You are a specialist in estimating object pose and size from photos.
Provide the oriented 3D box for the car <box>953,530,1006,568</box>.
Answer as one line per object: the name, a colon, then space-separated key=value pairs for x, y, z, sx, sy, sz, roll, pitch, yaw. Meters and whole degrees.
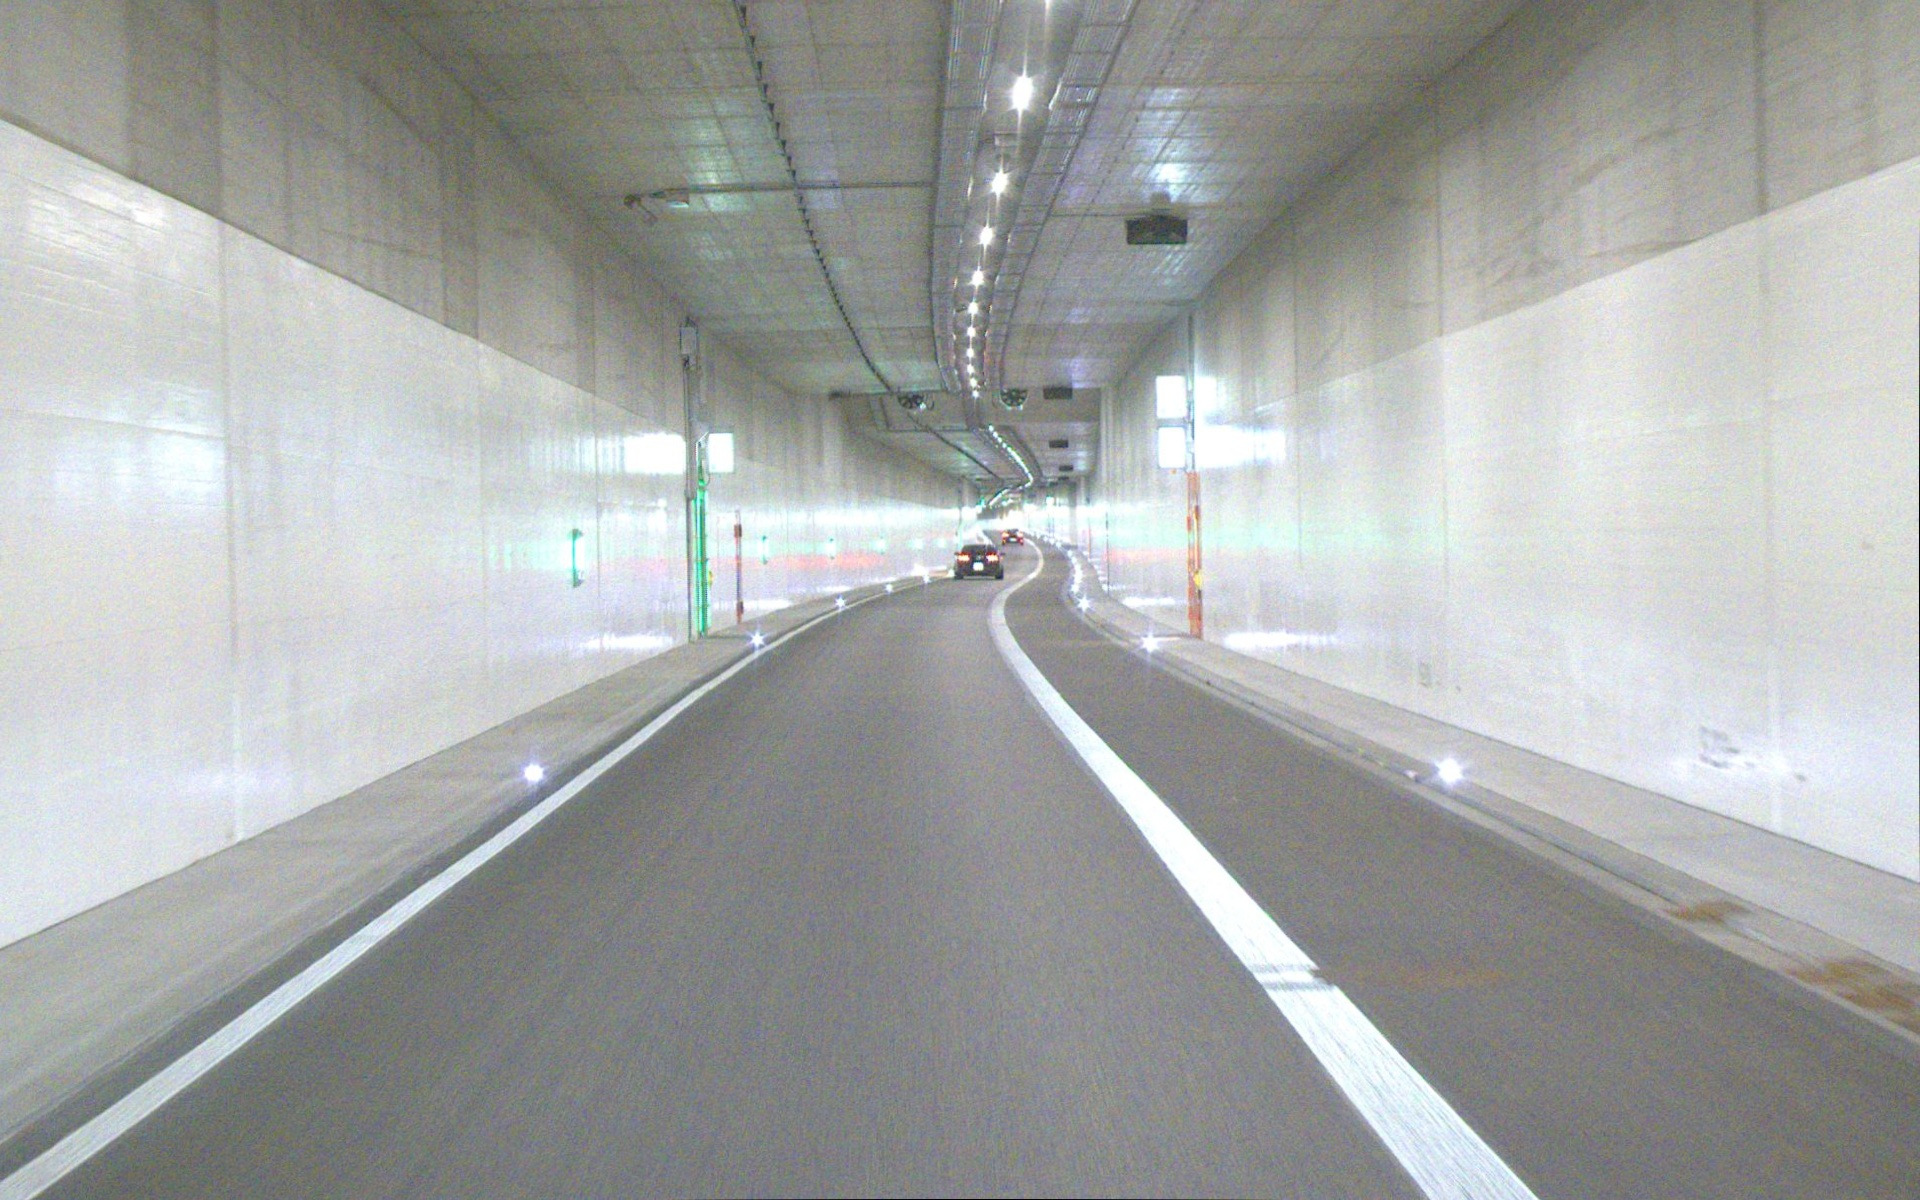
car: x=0.733 y=-1.999 z=133.837 sx=1.993 sy=1.415 sz=4.000 roll=0 pitch=1 yaw=0
